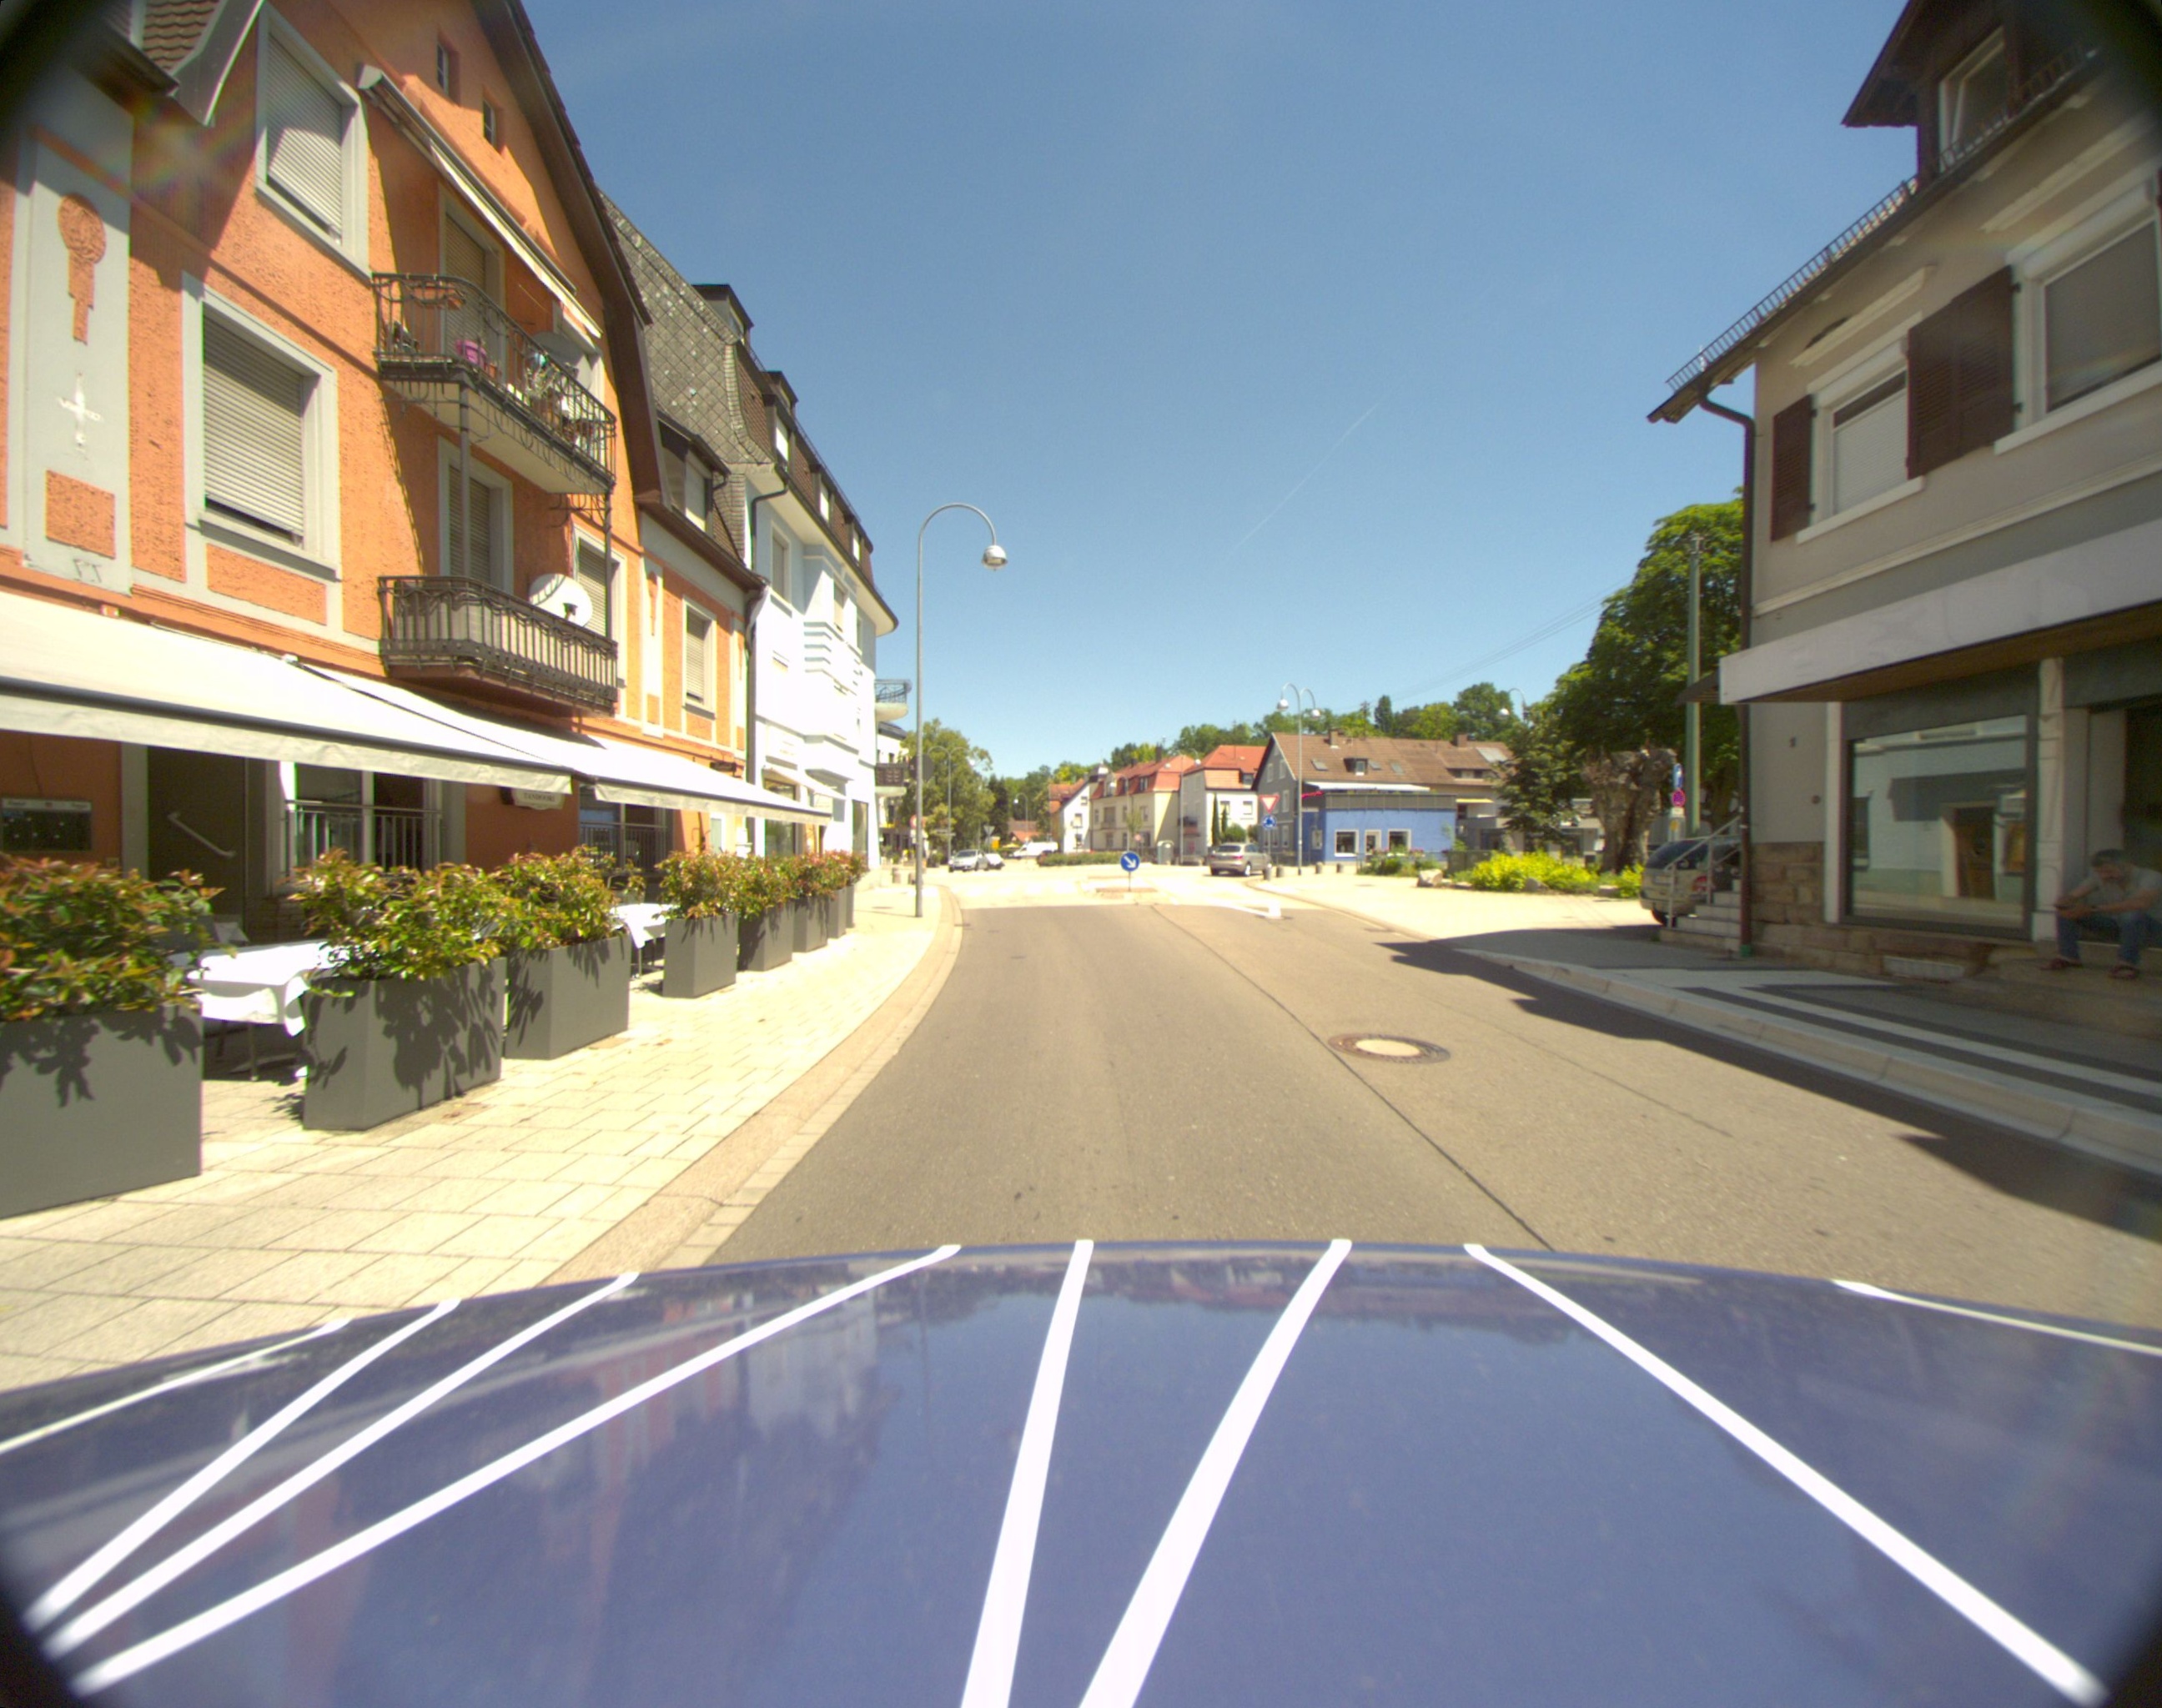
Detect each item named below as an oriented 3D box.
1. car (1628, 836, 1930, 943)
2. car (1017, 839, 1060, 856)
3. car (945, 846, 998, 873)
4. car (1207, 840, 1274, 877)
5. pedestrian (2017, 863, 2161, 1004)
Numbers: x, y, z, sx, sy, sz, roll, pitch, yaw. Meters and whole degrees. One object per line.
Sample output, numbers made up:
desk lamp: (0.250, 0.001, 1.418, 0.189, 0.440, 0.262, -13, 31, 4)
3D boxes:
car: (11.744, 0.557, 12.948, 3.721, 1.652, 1.602, -1, 1, -2)
car: (-6.542, -1.038, 116.756, 6.362, 2.447, 2.306, -1, 1, -7)
car: (-6.822, 0.325, 47.914, 1.997, 1.587, 4.194, -1, 1, 11)
car: (7.681, 0.172, 36.355, 1.811, 1.599, 3.924, 3, 3, 33)
pedestrian: (8.108, 0.606, 6.054, 0.598, 1.053, 0.567, -1, 1, -1)
